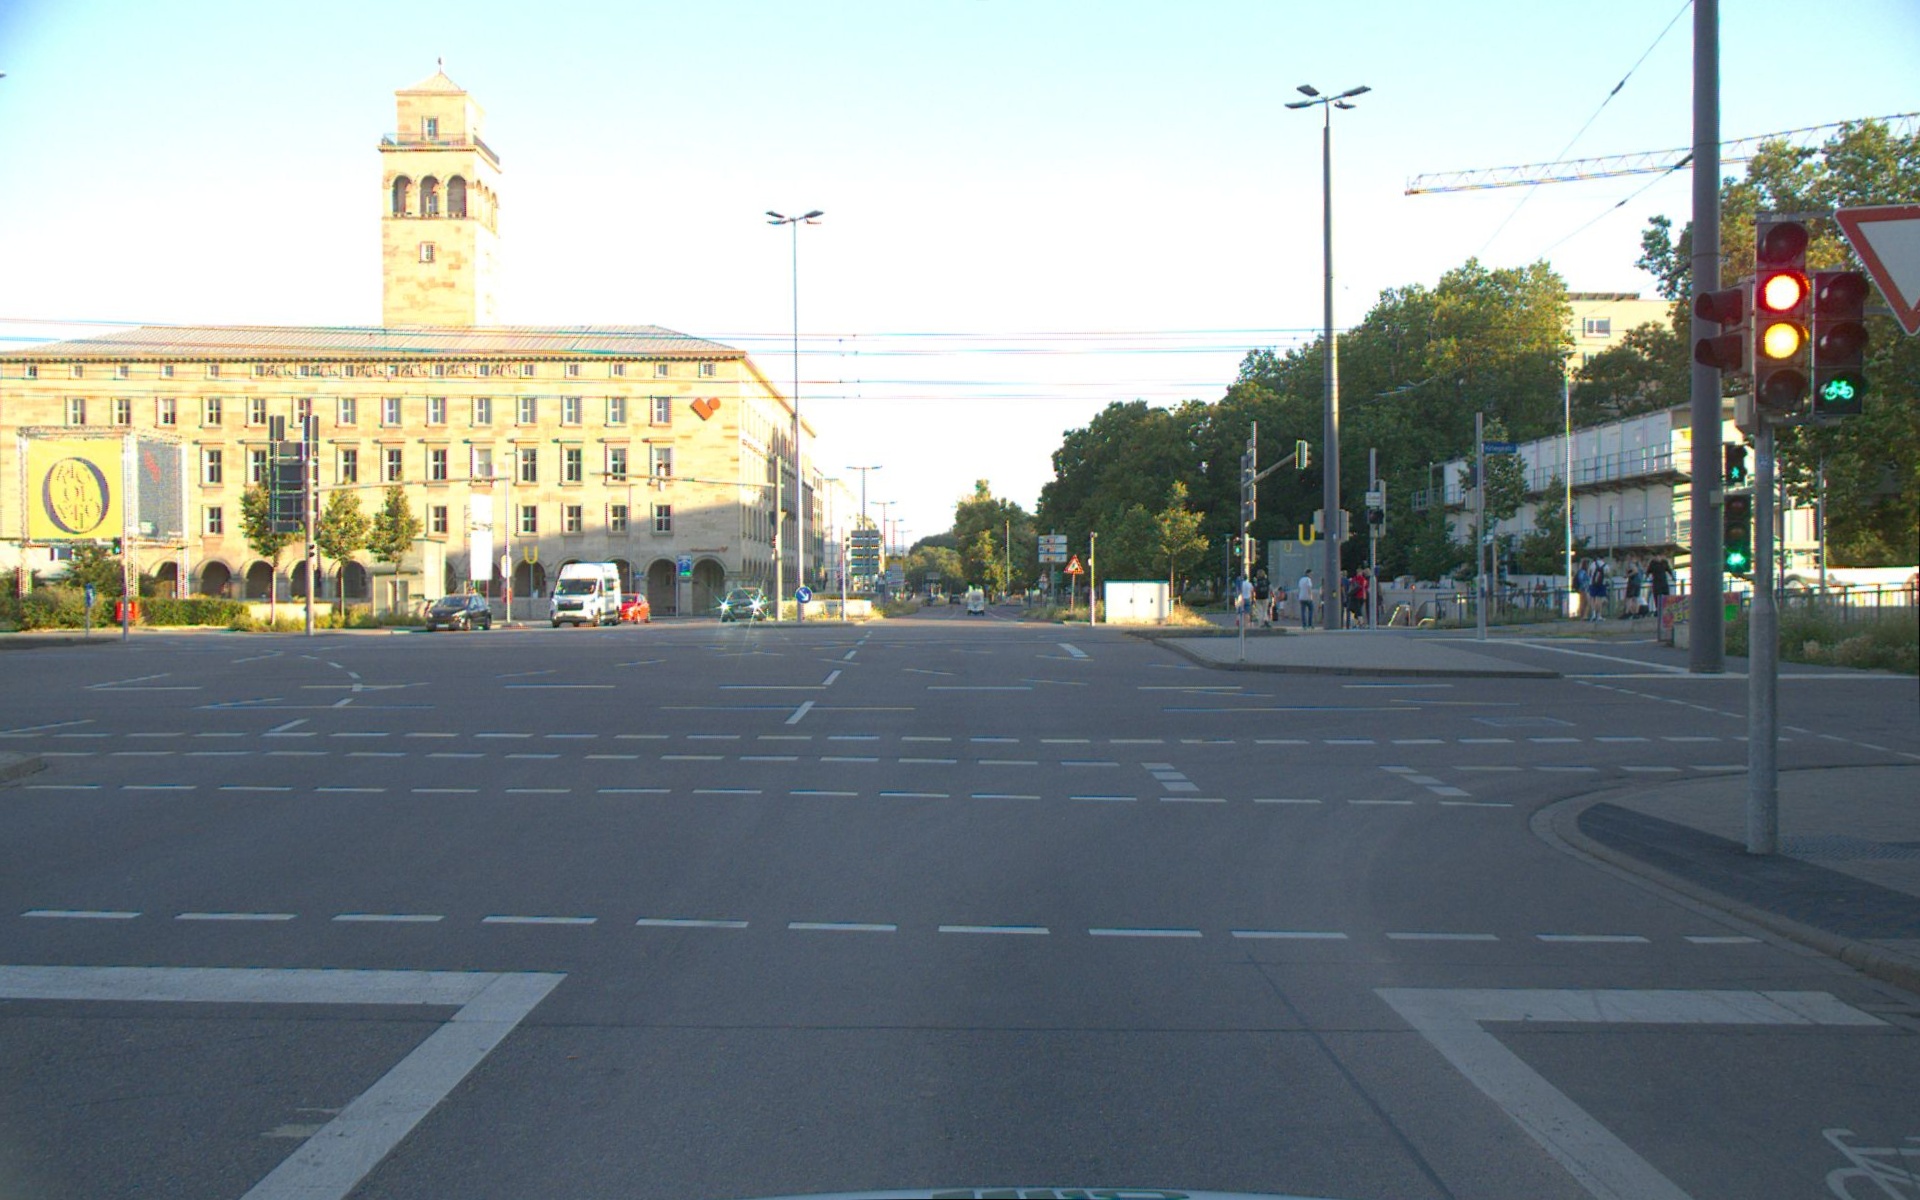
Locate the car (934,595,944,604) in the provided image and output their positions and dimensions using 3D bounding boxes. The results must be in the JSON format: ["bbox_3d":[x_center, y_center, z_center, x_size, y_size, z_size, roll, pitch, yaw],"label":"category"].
[{"bbox_3d":[-2.987,-0.087,234.654,1.342,1.255,3.045,0,1,-1],"label":"car"}]

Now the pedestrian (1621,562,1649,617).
[{"bbox_3d":[18.007,-0.277,44.131,0.662,1.466,0.714,0,0,21],"label":"pedestrian"}]

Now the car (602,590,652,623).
[{"bbox_3d":[-16.172,0.290,80.426,1.703,1.513,3.999,-1,1,-2],"label":"car"}]

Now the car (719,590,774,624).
[{"bbox_3d":[-9.261,0.266,71.903,1.785,1.365,4.001,0,1,1],"label":"car"}]

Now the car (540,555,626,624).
[{"bbox_3d":[-16.337,-0.474,71.961,2.232,2.824,6.084,-1,1,1],"label":"car"}]

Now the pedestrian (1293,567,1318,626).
[{"bbox_3d":[10.360,-0.105,49.612,0.695,1.755,0.916,0,1,8],"label":"pedestrian"}]

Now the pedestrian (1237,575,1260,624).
[{"bbox_3d":[10.558,-0.023,60.571,0.665,1.788,0.902,0,1,20],"label":"pedestrian"}]

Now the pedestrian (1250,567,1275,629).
[{"bbox_3d":[8.719,-0.067,47.659,0.695,1.755,0.916,0,1,10],"label":"pedestrian"}]

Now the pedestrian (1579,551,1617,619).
[{"bbox_3d":[16.838,-0.401,43.650,0.661,1.755,0.704,-1,1,-37],"label":"pedestrian"}]

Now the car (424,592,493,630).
[{"bbox_3d":[-21.078,0.444,69.679,1.786,1.491,4.156,-1,1,-2],"label":"car"}]

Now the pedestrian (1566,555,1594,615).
[{"bbox_3d":[16.777,-0.413,44.765,0.559,1.620,0.536,-1,0,-1],"label":"pedestrian"}]

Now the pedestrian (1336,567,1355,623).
[{"bbox_3d":[11.659,-0.155,49.992,0.560,1.708,0.639,0,1,13],"label":"pedestrian"}]

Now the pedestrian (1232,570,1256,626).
[{"bbox_3d":[9.027,-0.063,52.550,0.695,1.755,0.669,0,1,13],"label":"pedestrian"}]

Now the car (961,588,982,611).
[{"bbox_3d":[0.894,-0.075,128.488,1.454,1.725,2.972,-1,1,-4],"label":"car"}]

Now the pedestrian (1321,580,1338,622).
[{"bbox_3d":[12.985,0.021,58.152,0.560,1.463,0.639,0,1,11],"label":"pedestrian"}]

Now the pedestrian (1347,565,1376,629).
[{"bbox_3d":[11.442,-0.089,47.133,0.788,1.822,0.801,0,1,13],"label":"pedestrian"}]

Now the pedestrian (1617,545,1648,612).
[{"bbox_3d":[17.657,-0.564,43.430,0.696,1.755,0.669,0,1,16],"label":"pedestrian"}]

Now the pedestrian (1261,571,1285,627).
[{"bbox_3d":[9.914,-0.048,52.347,0.696,1.755,0.669,0,1,16],"label":"pedestrian"}]

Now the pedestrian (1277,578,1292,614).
[{"bbox_3d":[17.044,-0.221,86.867,0.652,1.874,0.713,0,1,4],"label":"pedestrian"}]

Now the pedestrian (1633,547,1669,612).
[{"bbox_3d":[18.961,-0.558,45.408,0.696,1.755,0.668,0,1,-3],"label":"pedestrian"}]

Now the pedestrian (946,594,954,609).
[{"bbox_3d":[-1.158,0.155,194.322,0.888,1.700,1.306,0,1,-2],"label":"pedestrian"}]

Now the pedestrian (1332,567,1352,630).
[{"bbox_3d":[11.170,-0.055,48.404,0.560,1.822,0.639,0,1,13],"label":"pedestrian"}]

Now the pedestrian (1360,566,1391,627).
[{"bbox_3d":[12.107,-0.100,48.185,0.826,1.764,0.706,0,1,11],"label":"pedestrian"}]
